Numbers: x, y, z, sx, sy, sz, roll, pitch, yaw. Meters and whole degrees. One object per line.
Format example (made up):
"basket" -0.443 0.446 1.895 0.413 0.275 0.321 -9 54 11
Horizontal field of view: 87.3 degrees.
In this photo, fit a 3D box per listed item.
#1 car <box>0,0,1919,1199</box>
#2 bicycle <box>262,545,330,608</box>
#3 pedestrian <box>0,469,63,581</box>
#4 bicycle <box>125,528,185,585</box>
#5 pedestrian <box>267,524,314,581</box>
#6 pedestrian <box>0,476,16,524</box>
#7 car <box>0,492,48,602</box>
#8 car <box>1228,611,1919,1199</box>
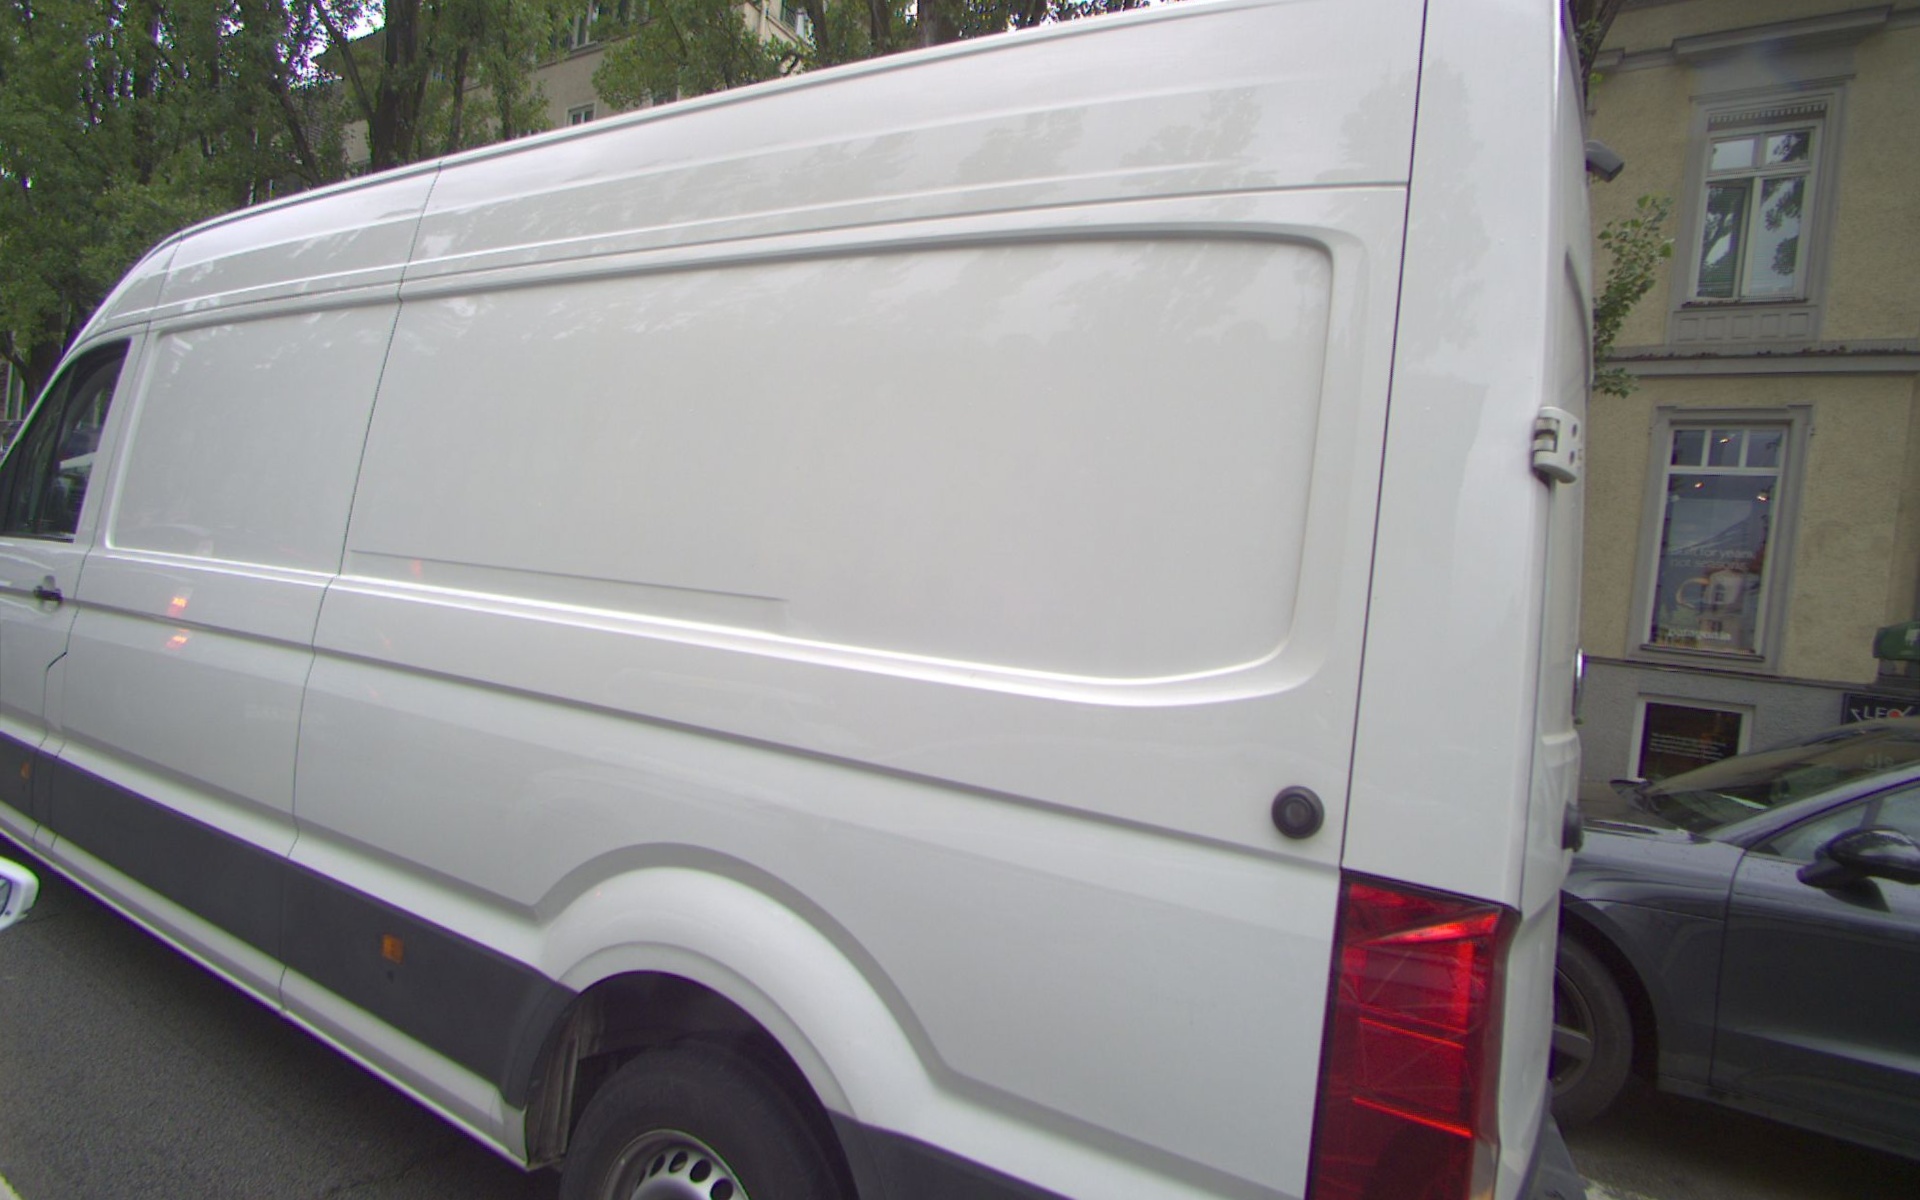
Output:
"car" -1.596 0.065 3.424 6.619 2.522 2.066 7 -1 32
"bicycle" -12.198 -0.434 18.472 1.429 1.009 0.349 6 2 28
"pedestrian" -16.225 -1.294 17.373 0.857 1.795 0.827 7 1 37
"bicycle" -16.019 -0.869 20.003 1.429 1.009 0.349 6 2 28
"pedestrian" -17.287 -1.220 25.989 0.787 1.340 0.639 7 1 31
"pedestrian" -35.405 -3.719 37.000 0.745 1.707 0.674 6 1 27
"car" -15.050 -0.947 14.748 3.465 1.510 1.543 7 -1 32
"car" 3.459 1.165 3.597 4.372 1.657 1.807 7 -1 30
